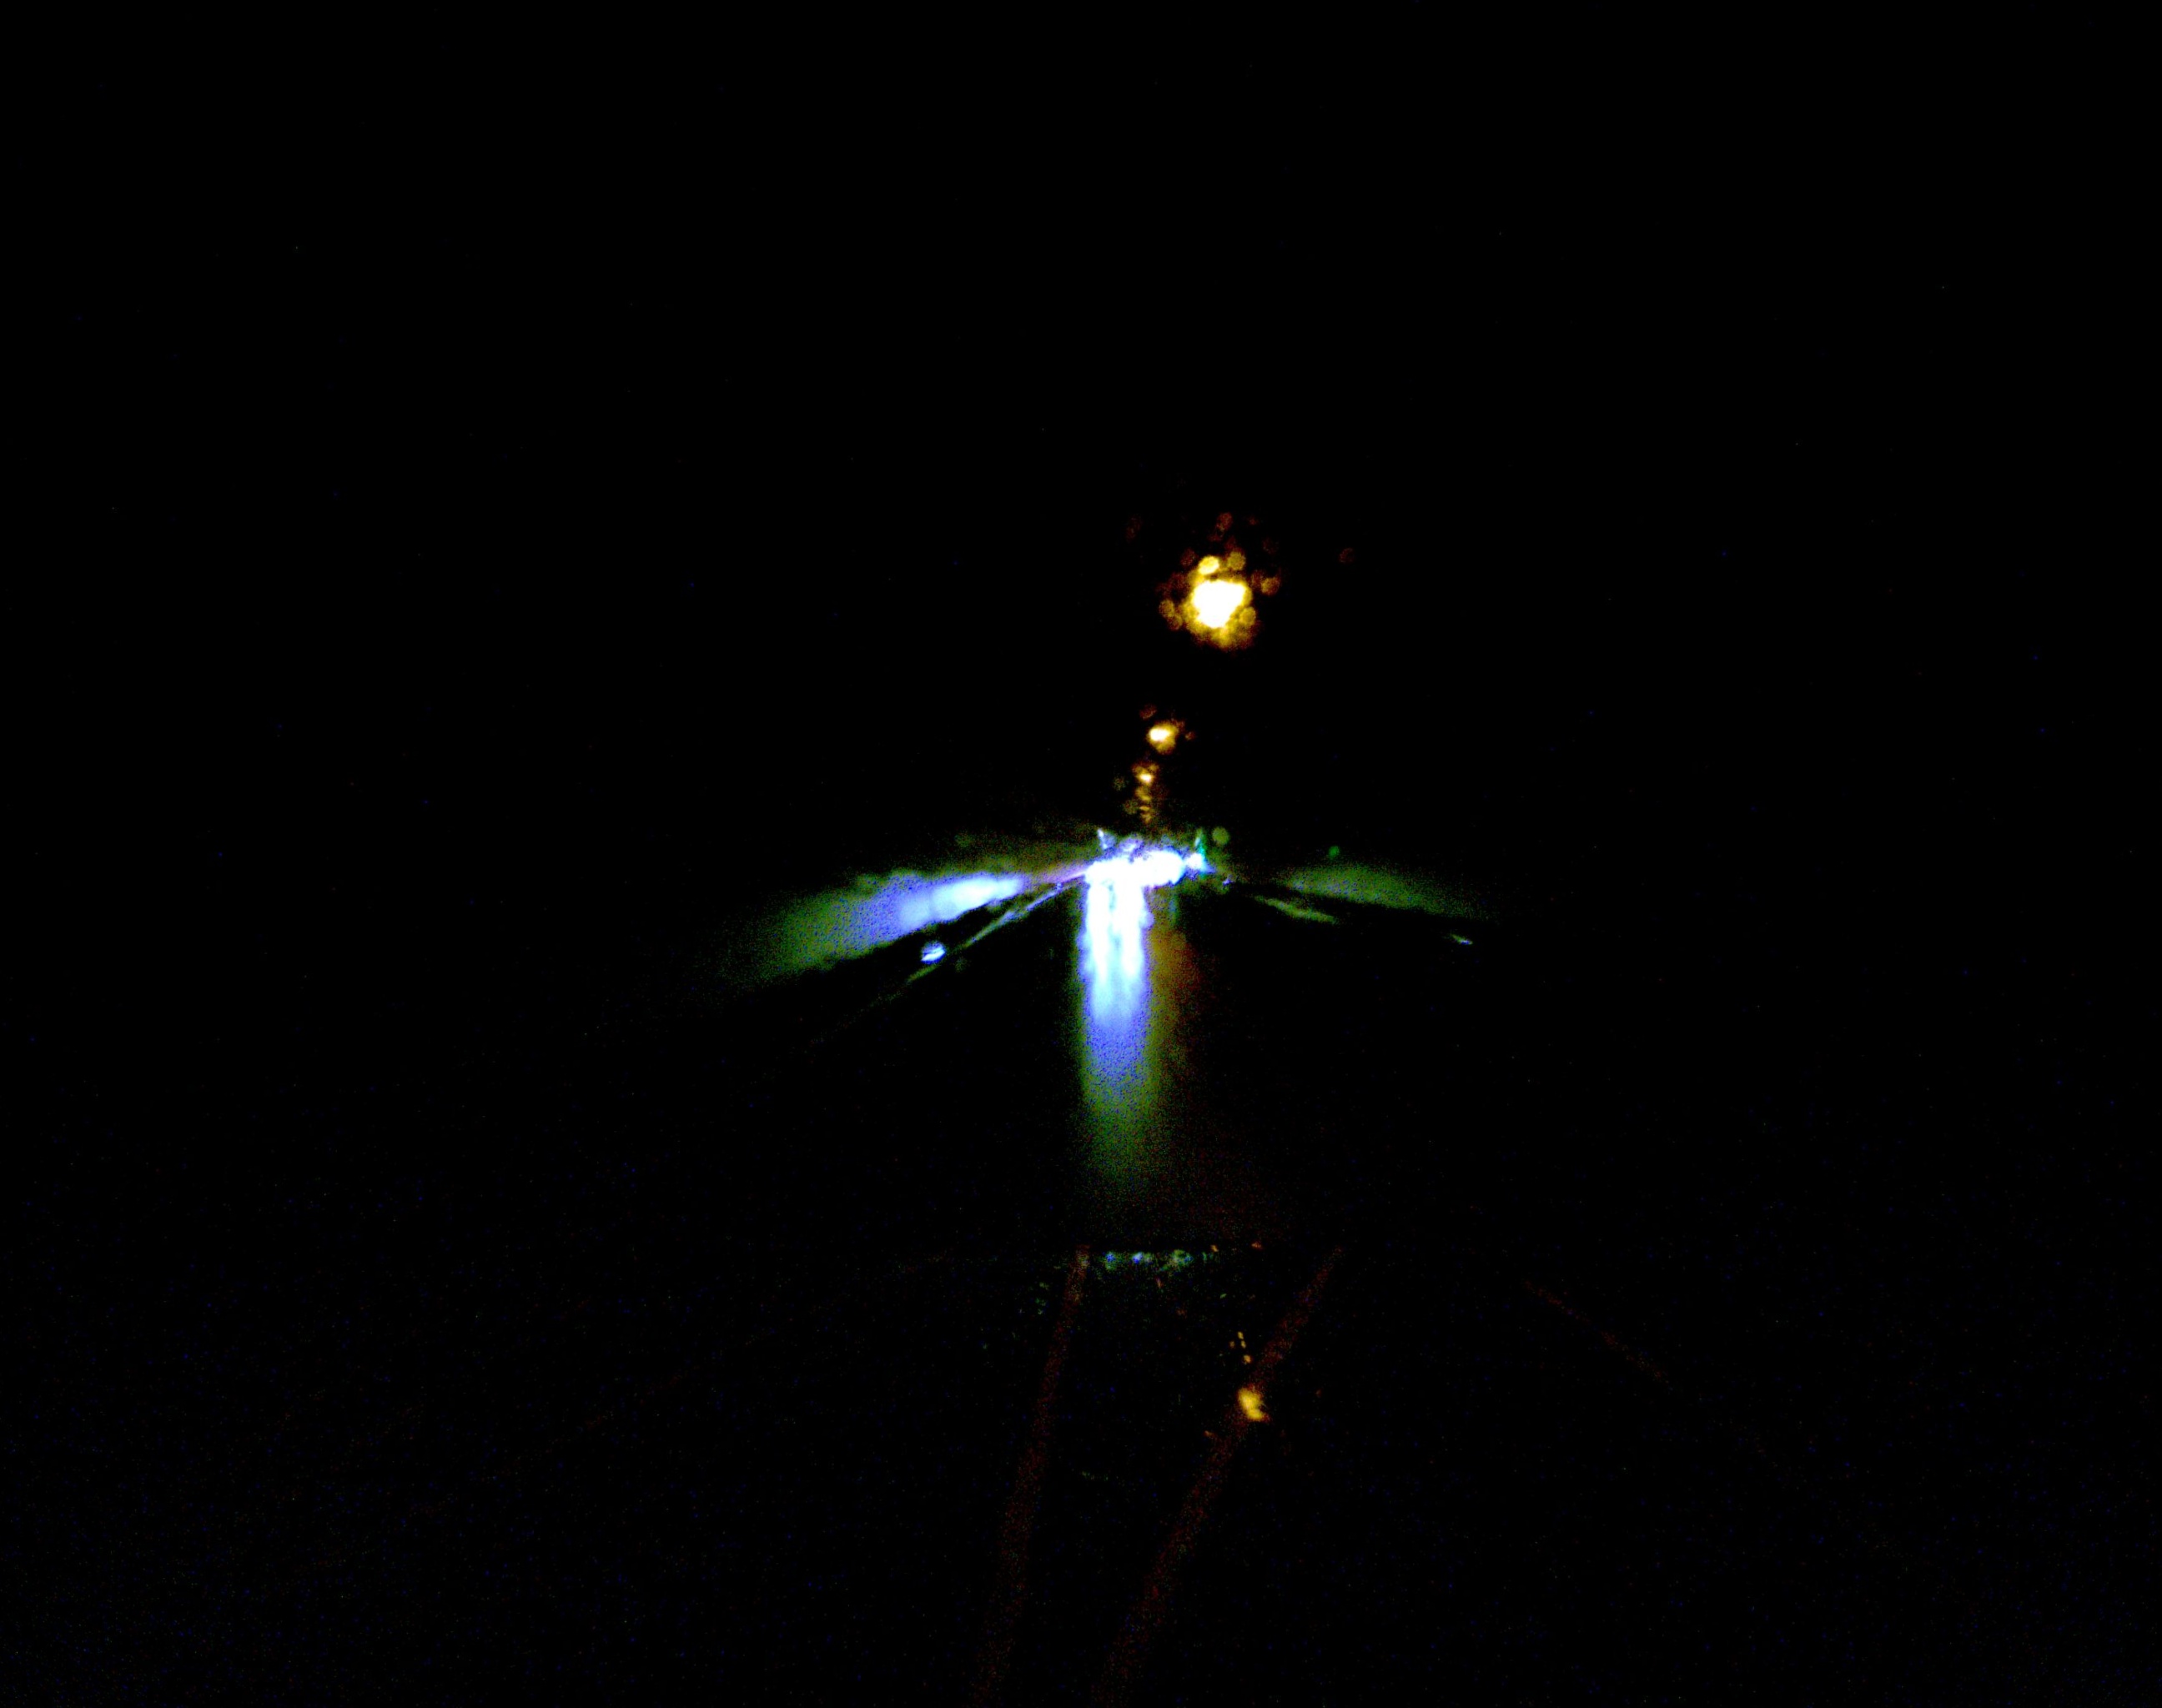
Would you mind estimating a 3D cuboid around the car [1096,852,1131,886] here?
[{"bbox_3d":[1.810,0.759,41.171,1.729,1.595,4.001,-4,1,4],"label":"car"}]
